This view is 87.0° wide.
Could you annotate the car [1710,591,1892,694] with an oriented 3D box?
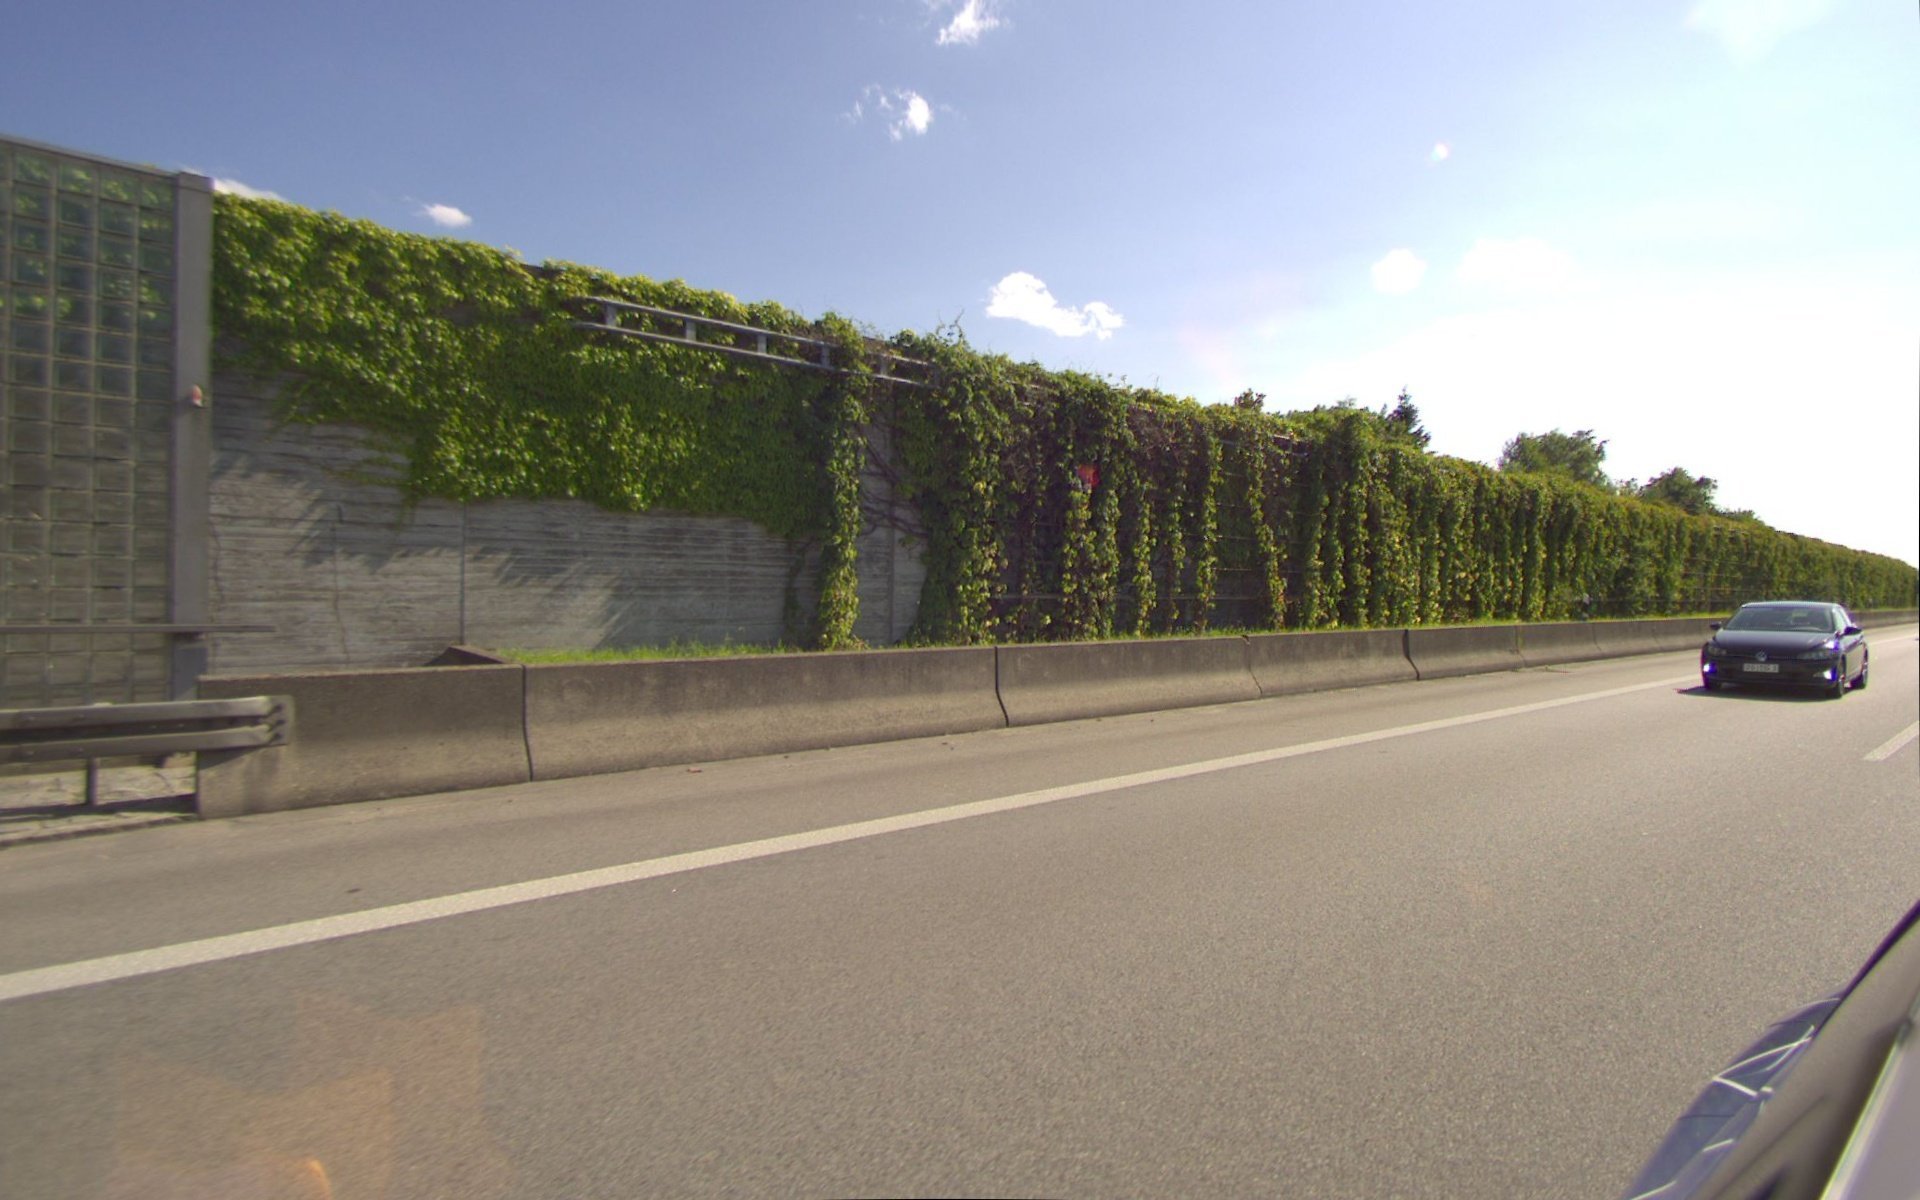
[{"bbox_3d":[13.964,0.601,16.709,4.466,1.473,1.668,0,1,-42],"label":"car"}]
